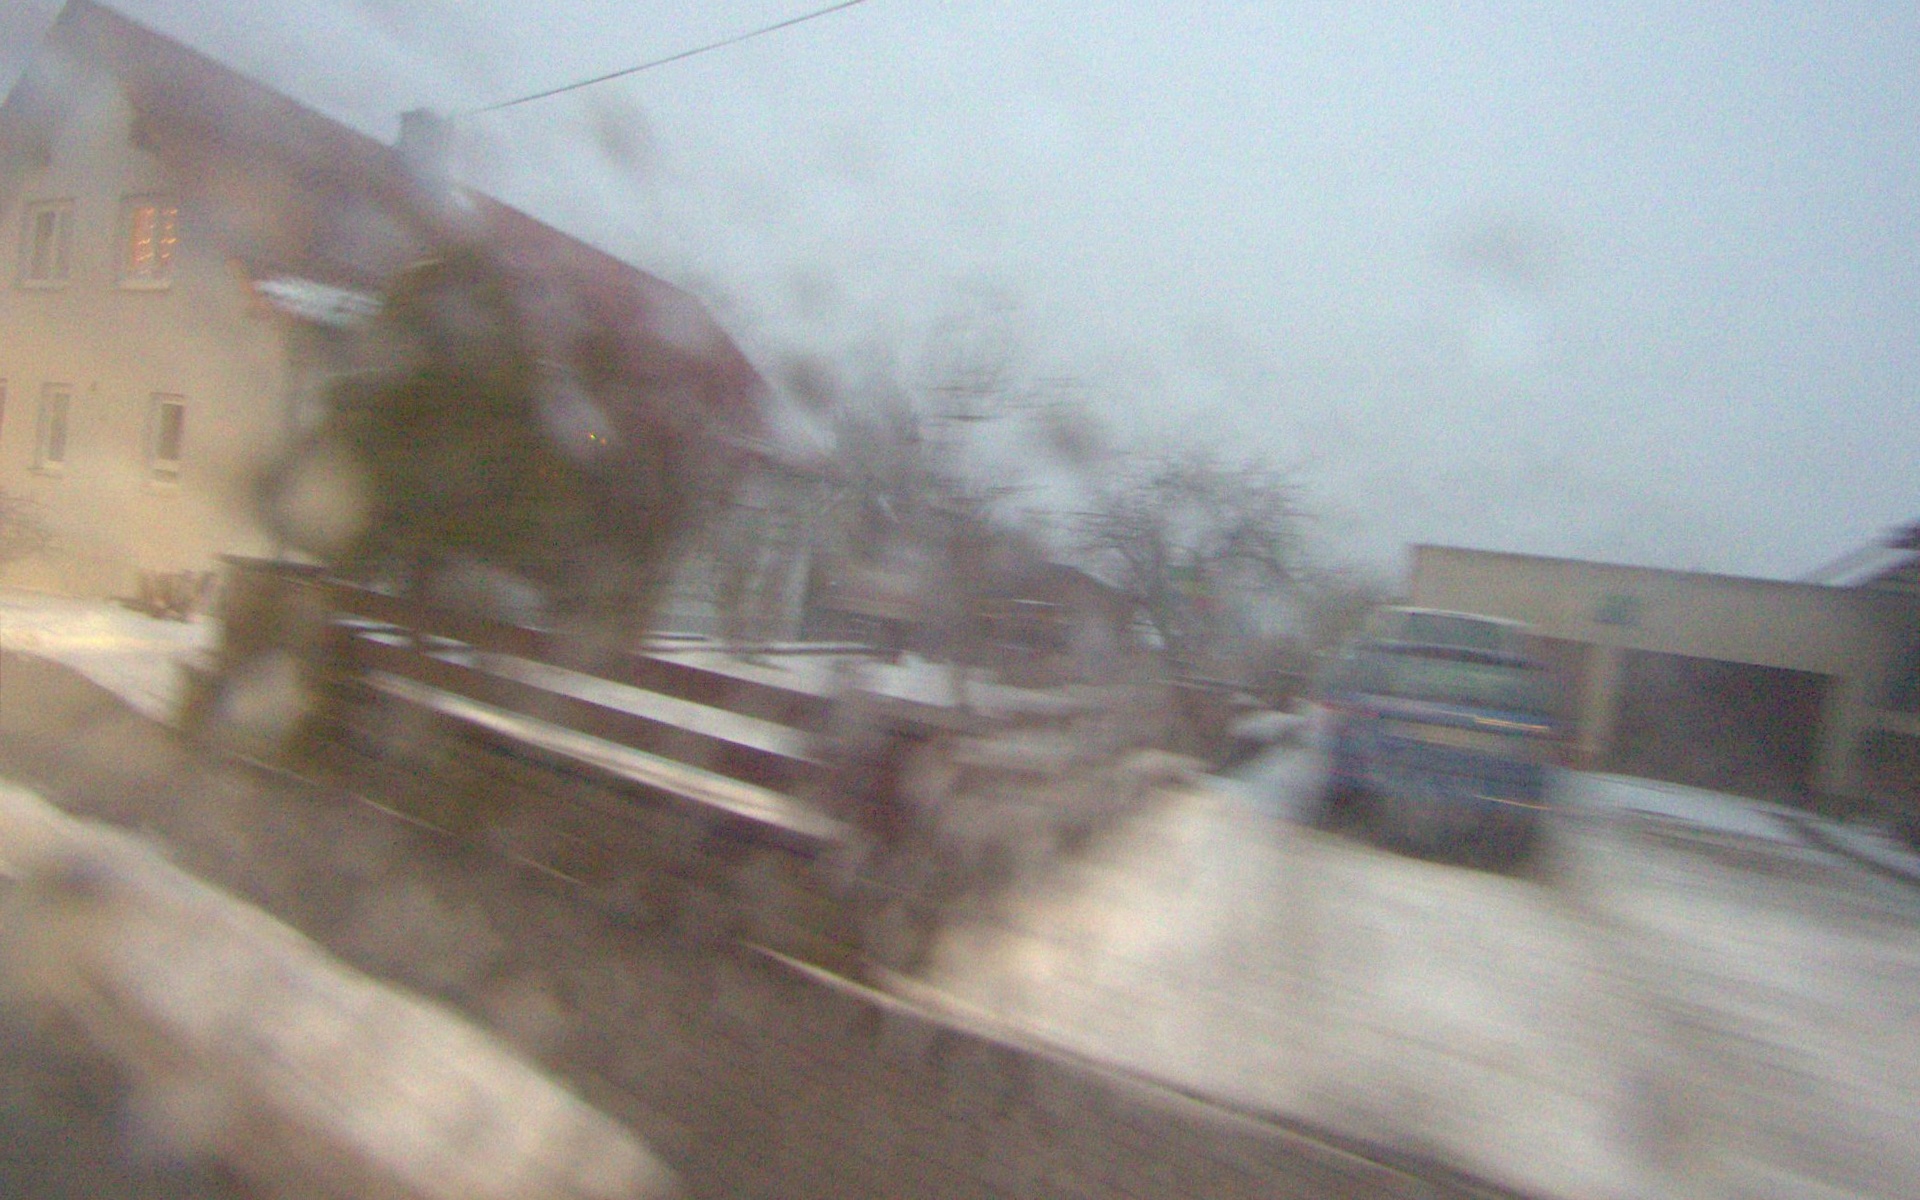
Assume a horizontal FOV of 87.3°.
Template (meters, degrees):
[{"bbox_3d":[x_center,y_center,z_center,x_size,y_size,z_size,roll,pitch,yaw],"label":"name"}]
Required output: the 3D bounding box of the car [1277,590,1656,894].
[{"bbox_3d":[3.962,1.012,8.247,1.964,1.605,4.463,5,-3,24],"label":"car"}]

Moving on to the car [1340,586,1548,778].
[{"bbox_3d":[6.326,1.089,13.375,1.964,1.948,4.386,5,-3,24],"label":"car"}]
